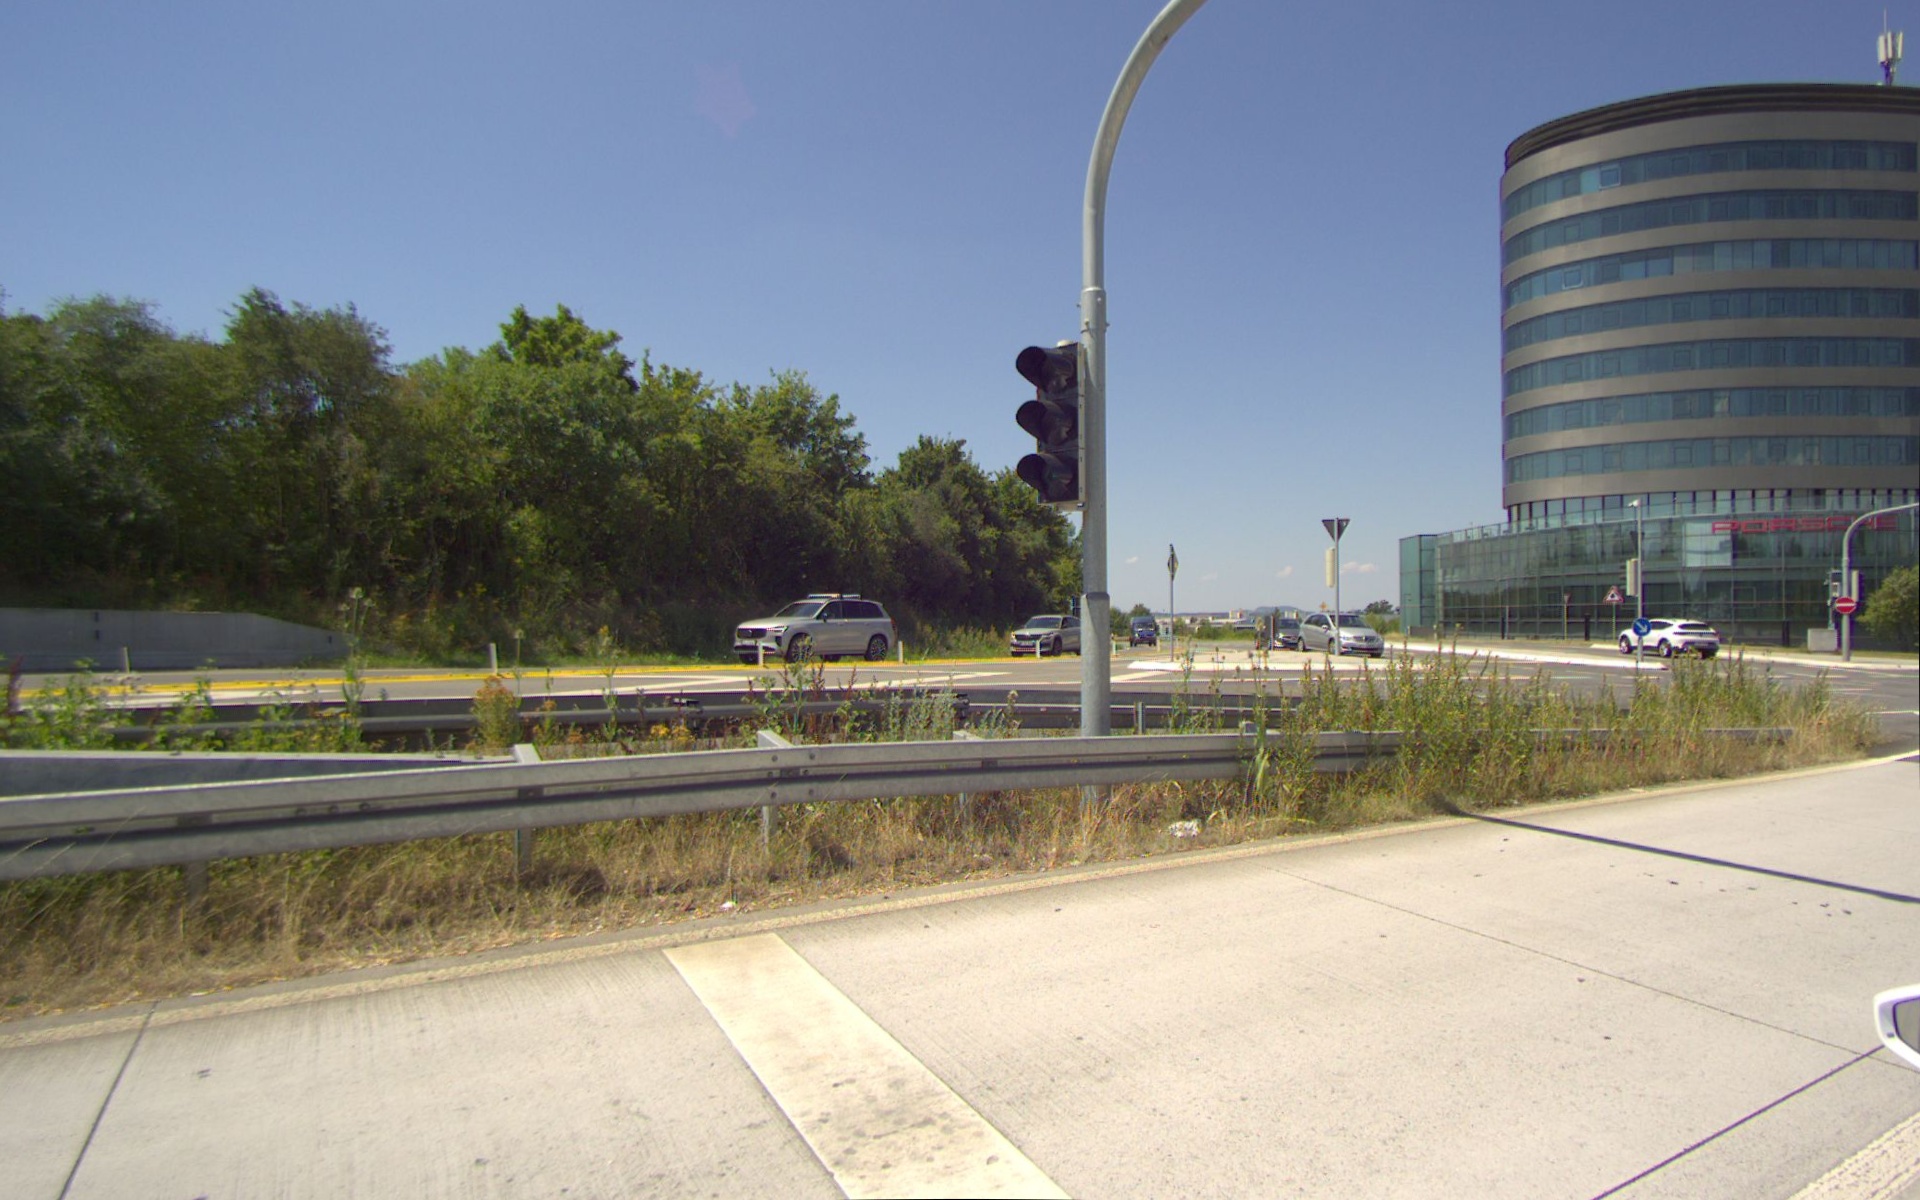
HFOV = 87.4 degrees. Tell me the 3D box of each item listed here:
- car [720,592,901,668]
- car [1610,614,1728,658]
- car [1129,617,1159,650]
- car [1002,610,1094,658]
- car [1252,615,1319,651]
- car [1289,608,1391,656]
[{"bbox_3d":[-3.843,0.771,26.620,1.967,1.796,4.843,1,-1,34],"label":"car"},{"bbox_3d":[28.256,1.405,40.183,1.773,1.577,3.999,2,0,-2],"label":"car"},{"bbox_3d":[16.249,2.946,89.151,2.024,2.740,5.899,2,0,5],"label":"car"},{"bbox_3d":[3.494,1.276,39.058,1.963,1.715,4.652,1,-1,27],"label":"car"},{"bbox_3d":[14.370,1.471,44.538,1.663,1.475,4.332,2,-2,2],"label":"car"},{"bbox_3d":[13.876,1.178,36.948,1.743,1.616,4.326,2,-2,-6],"label":"car"}]
